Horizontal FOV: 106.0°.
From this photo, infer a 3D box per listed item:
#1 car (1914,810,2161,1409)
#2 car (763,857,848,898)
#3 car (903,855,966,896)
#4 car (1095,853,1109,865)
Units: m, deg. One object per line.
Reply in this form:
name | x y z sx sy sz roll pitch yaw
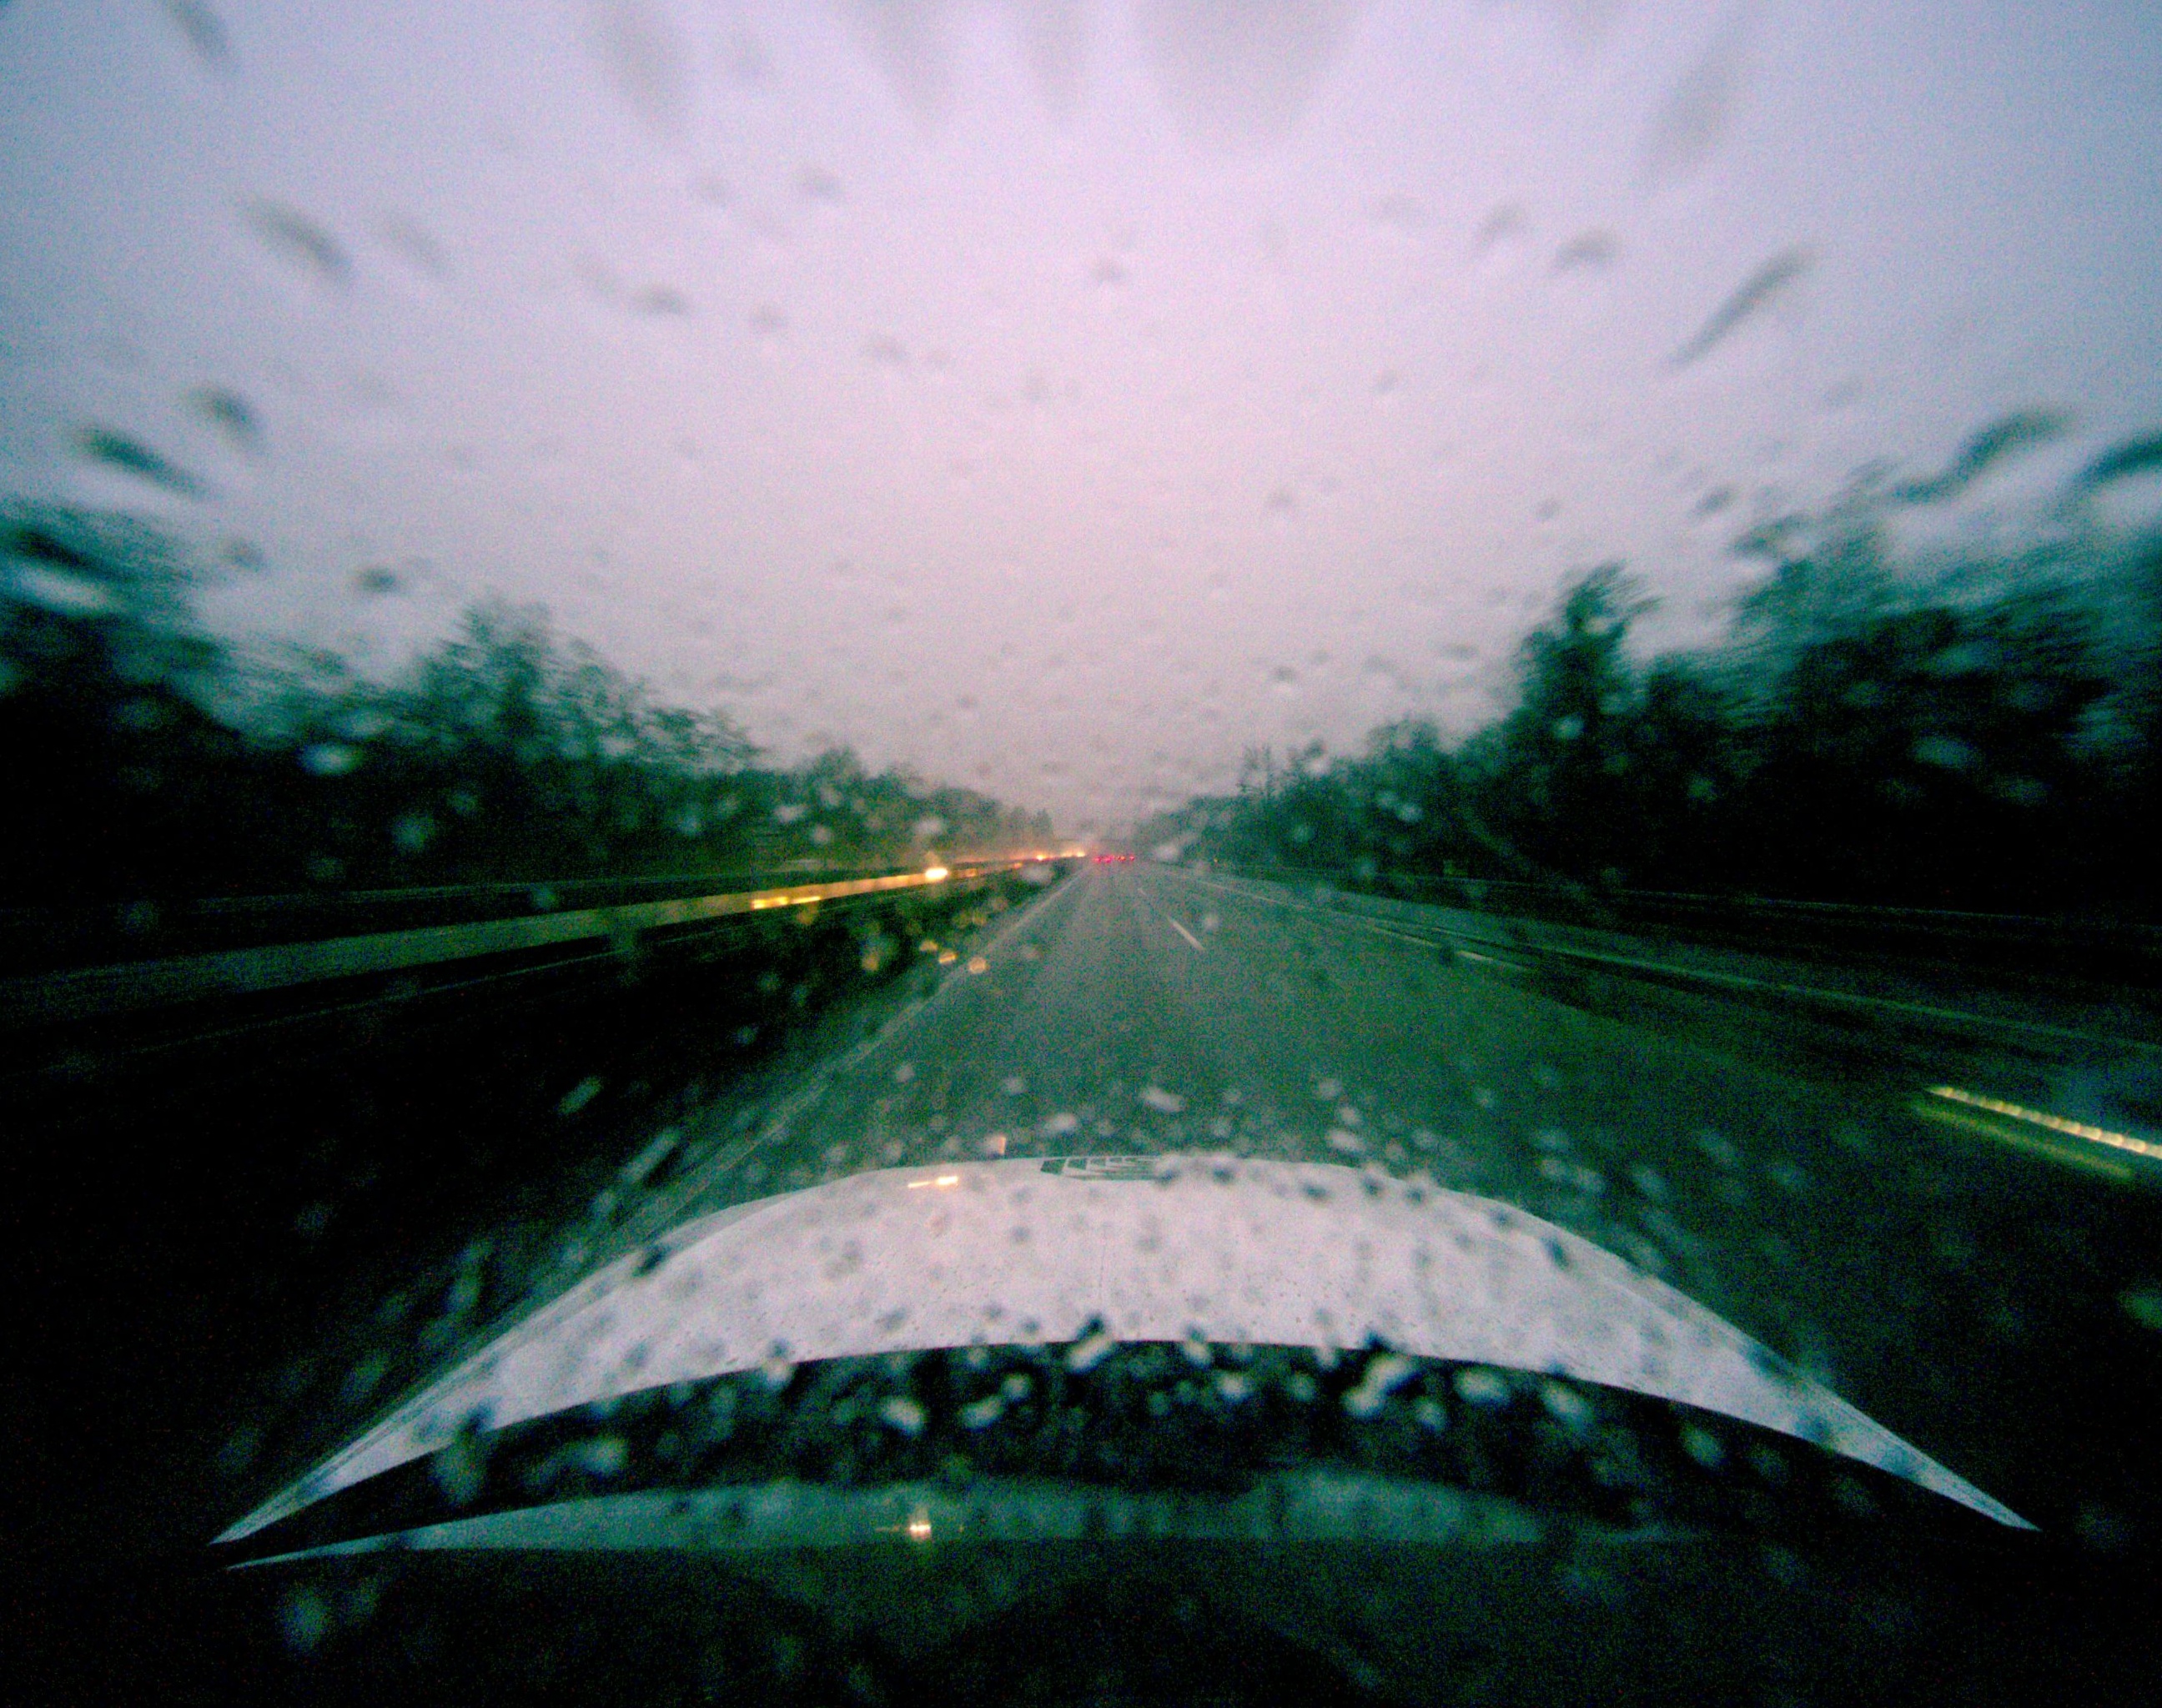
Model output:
car | 3.582 0.636 0.754 1.780 1.516 3.812 -1 0 1
car | -10.856 0.882 32.425 1.720 1.460 4.419 1 0 2
car | -6.134 0.856 34.598 1.720 1.589 4.419 1 0 2
car | 2.390 0.545 91.667 1.448 1.344 3.491 -1 0 2
